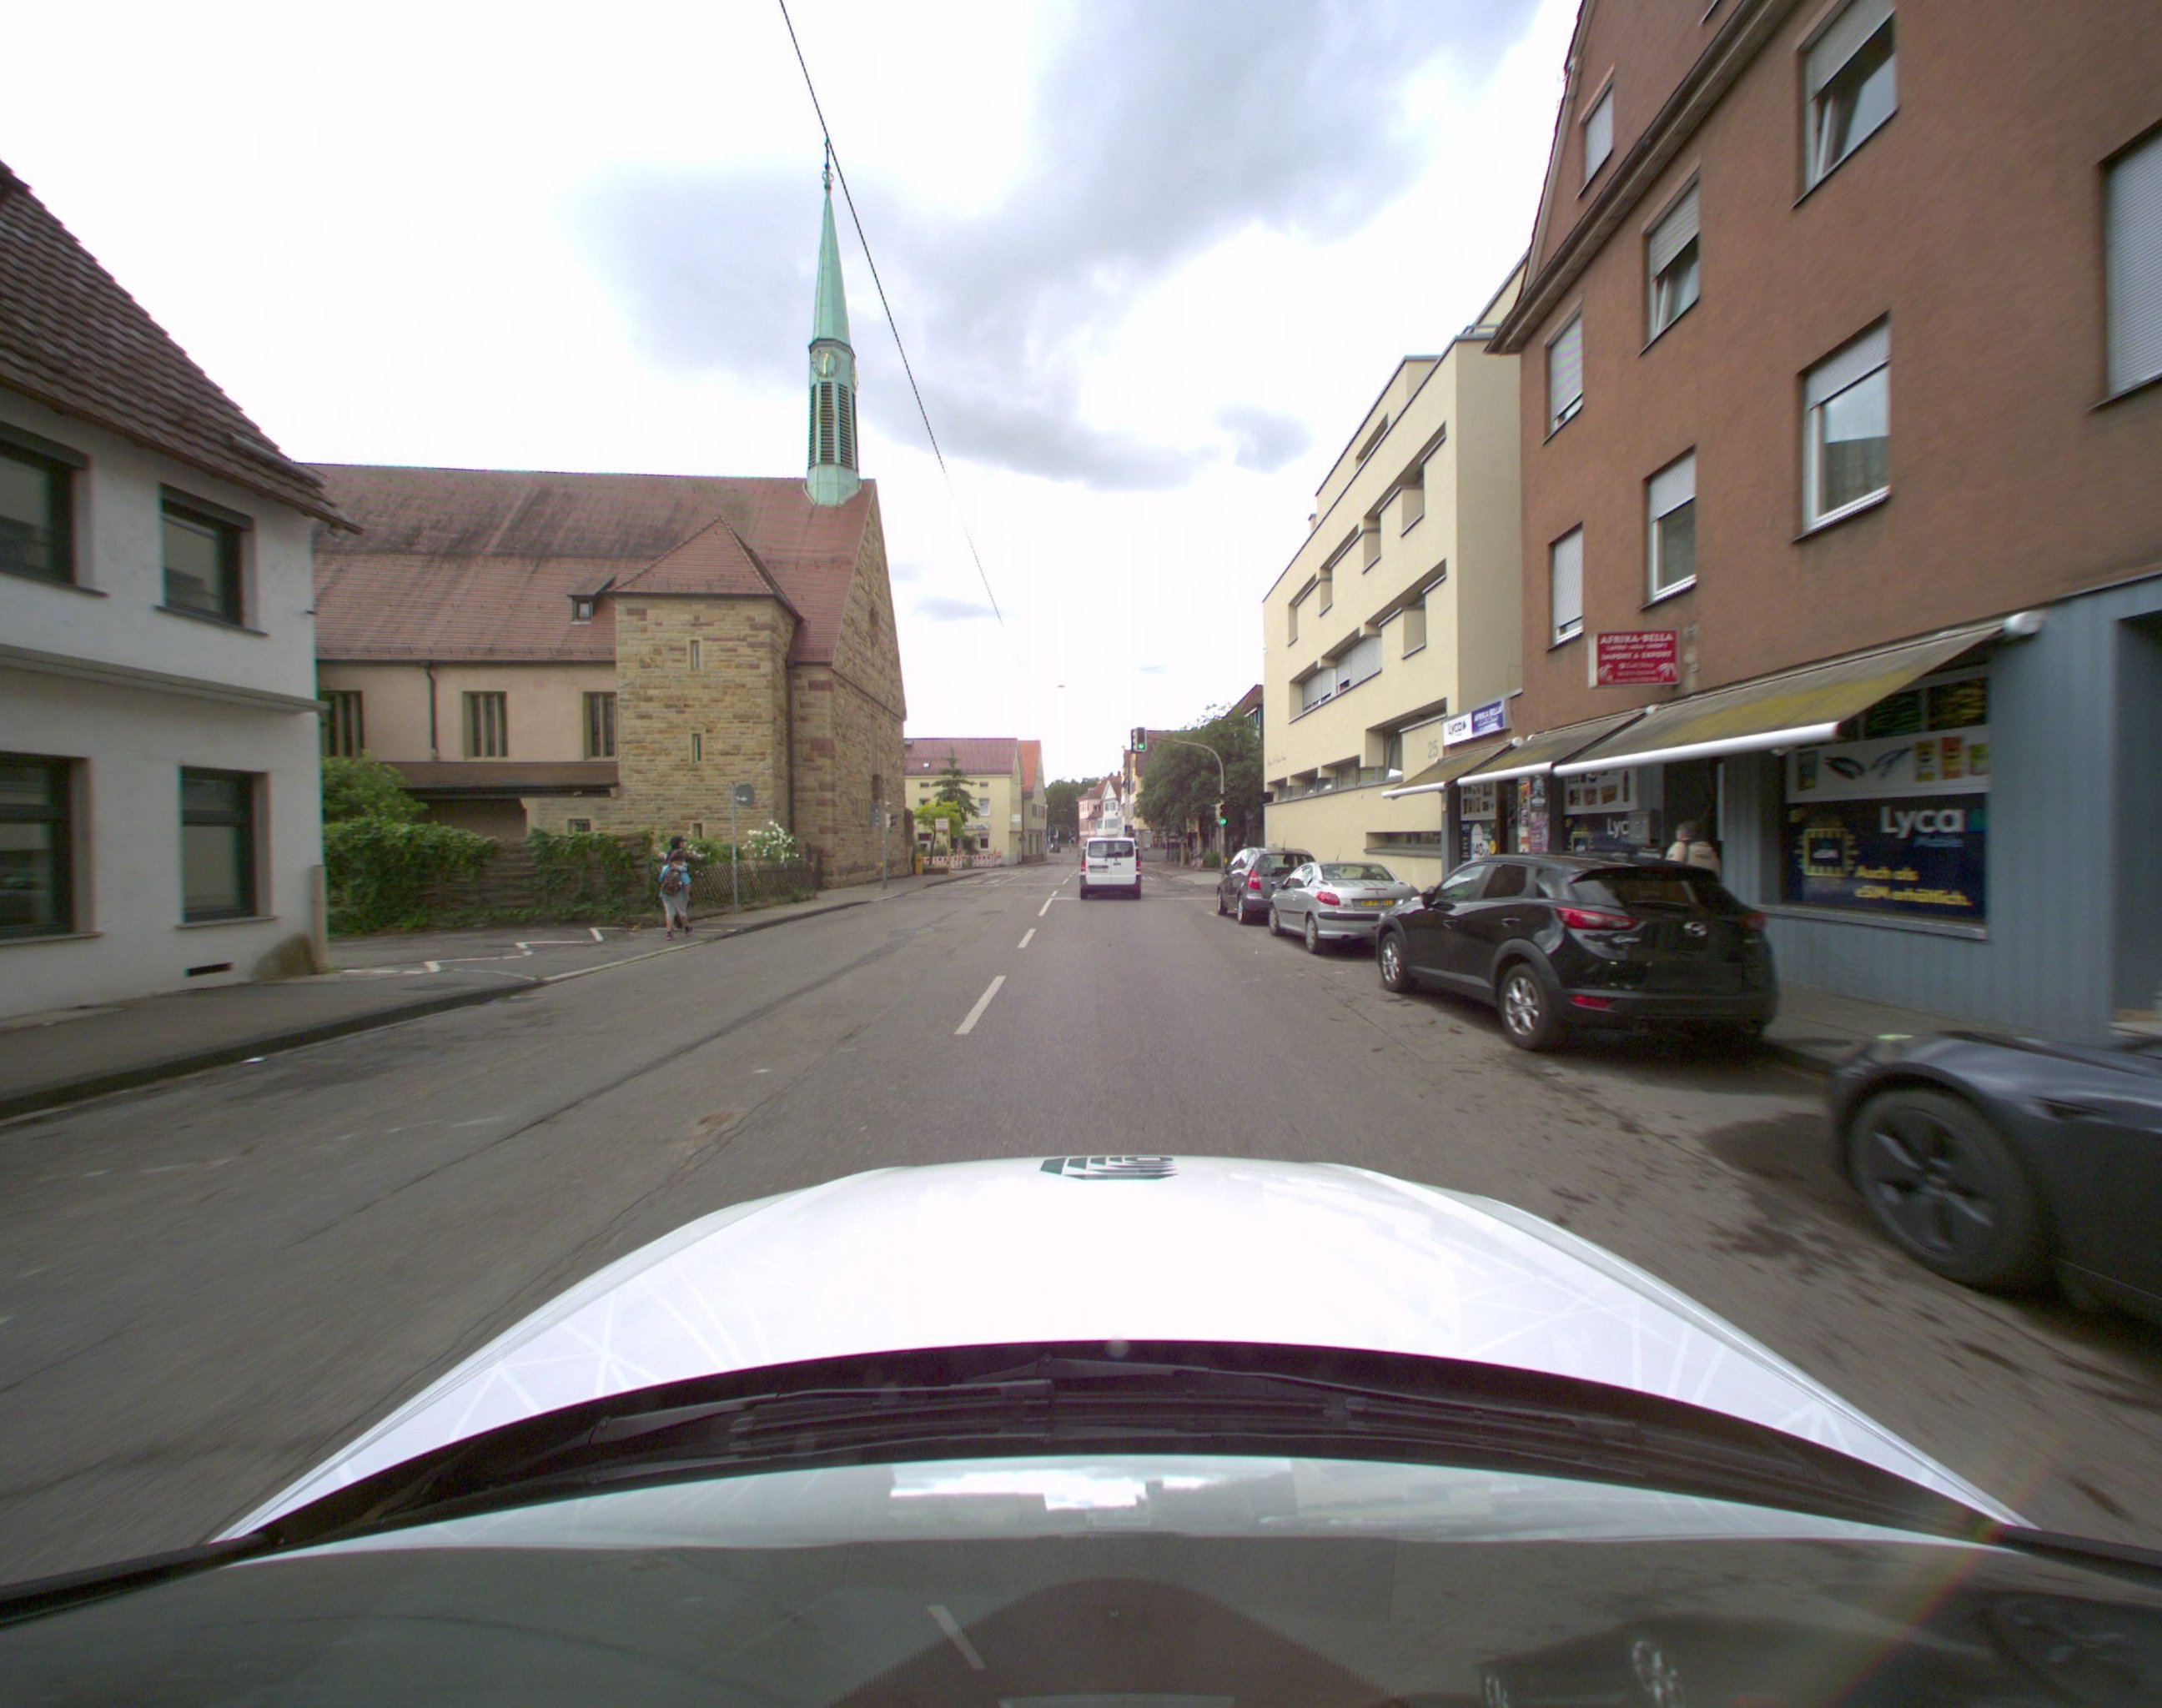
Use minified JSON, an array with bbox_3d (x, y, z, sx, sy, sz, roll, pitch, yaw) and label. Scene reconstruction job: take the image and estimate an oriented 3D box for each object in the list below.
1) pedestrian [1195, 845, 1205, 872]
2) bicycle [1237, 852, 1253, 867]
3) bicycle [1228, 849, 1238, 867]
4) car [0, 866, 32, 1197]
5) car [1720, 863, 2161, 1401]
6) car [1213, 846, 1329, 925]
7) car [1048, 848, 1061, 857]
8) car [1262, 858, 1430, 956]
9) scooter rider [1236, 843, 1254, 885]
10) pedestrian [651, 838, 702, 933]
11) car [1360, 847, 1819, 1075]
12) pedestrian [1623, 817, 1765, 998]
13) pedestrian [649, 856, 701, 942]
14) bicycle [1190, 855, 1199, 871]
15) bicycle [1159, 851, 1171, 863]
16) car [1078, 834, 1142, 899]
[{"bbox_3d":[7.652,0.265,52.449,0.599,1.715,0.862,-1,0,8],"label":"pedestrian"},{"bbox_3d":[11.707,0.384,58.220,0.543,1.069,2.288,-1,0,-3],"label":"bicycle"},{"bbox_3d":[10.820,0.268,58.131,0.332,1.300,1.959,0,0,0],"label":"bicycle"},{"bbox_3d":[-6.059,0.915,1.759,1.697,1.574,4.451,-3,1,1],"label":"car"},{"bbox_3d":[3.785,0.774,1.531,1.744,1.406,4.514,-1,0,2],"label":"car"},{"bbox_3d":[4.081,0.615,18.033,1.706,1.560,3.785,0,0,0],"label":"car"},{"bbox_3d":[-5.454,-0.325,169.384,1.937,2.013,3.981,0,0,-14],"label":"car"},{"bbox_3d":[4.143,0.752,13.353,1.546,1.333,3.812,0,0,0],"label":"car"},{"bbox_3d":[6.610,0.409,32.817,0.452,1.632,0.502,-3,-2,-13],"label":"scooter rider"},{"bbox_3d":[-8.088,0.616,16.301,0.568,1.848,0.697,2,0,2],"label":"pedestrian"},{"bbox_3d":[4.143,0.713,7.569,1.597,1.518,4.207,0,0,-1],"label":"car"},{"bbox_3d":[5.945,0.485,7.949,0.698,1.649,0.889,-2,0,1],"label":"pedestrian"},{"bbox_3d":[-7.552,0.821,15.170,0.568,1.554,0.697,1,0,2],"label":"pedestrian"},{"bbox_3d":[8.198,0.624,58.925,0.332,1.141,1.959,0,0,0],"label":"bicycle"},{"bbox_3d":[8.143,0.287,79.347,0.501,1.106,1.627,-1,0,-19],"label":"bicycle"},{"bbox_3d":[0.929,0.385,25.998,1.865,1.912,4.002,-1,0,2],"label":"car"}]
